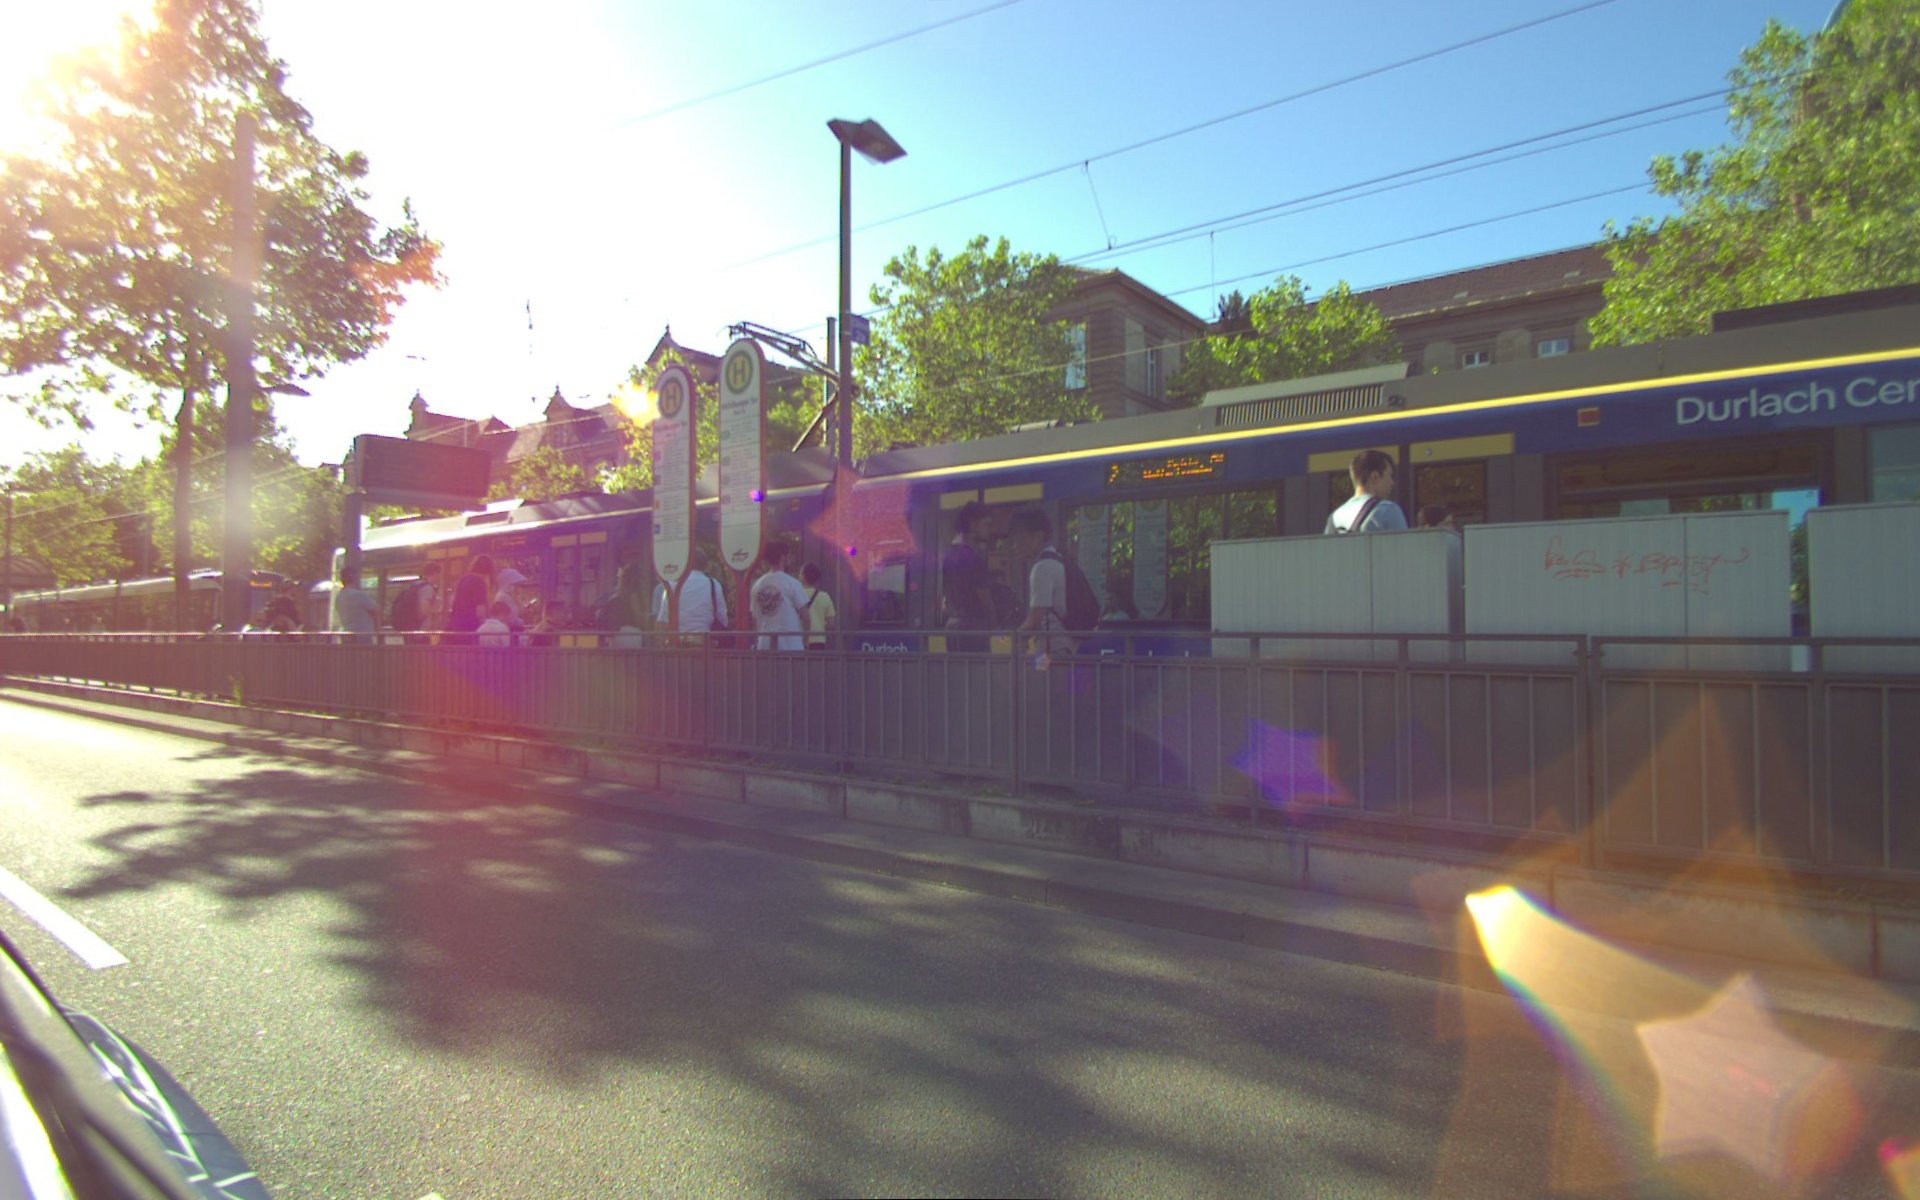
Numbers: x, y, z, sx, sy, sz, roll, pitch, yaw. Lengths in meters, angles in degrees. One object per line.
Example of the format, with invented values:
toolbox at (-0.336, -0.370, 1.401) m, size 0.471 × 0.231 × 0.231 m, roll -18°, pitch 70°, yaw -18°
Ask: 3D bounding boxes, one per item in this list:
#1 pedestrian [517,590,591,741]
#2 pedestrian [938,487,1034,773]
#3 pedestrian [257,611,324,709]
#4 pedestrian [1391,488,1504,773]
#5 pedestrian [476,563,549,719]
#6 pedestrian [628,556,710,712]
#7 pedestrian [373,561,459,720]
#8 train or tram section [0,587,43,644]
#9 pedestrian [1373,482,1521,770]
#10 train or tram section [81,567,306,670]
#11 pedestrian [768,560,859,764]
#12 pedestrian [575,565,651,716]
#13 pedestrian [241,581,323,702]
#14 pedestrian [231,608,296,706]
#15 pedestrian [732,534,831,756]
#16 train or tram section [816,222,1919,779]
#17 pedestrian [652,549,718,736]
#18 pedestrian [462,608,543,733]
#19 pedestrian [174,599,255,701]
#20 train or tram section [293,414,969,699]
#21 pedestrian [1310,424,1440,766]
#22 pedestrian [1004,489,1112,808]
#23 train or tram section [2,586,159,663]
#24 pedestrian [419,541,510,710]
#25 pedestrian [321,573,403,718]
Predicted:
pedestrian at (-3.708, 0.588, 9.253) m, size 0.506 × 1.326 × 0.412 m, roll -2°, pitch -3°, yaw 36°
pedestrian at (0.154, 0.191, 6.489) m, size 0.531 × 1.747 × 0.550 m, roll 0°, pitch -2°, yaw -7°
pedestrian at (-8.839, 0.785, 13.361) m, size 0.603 × 1.256 × 0.529 m, roll -2°, pitch -3°, yaw 36°
pedestrian at (3.128, 0.195, 6.484) m, size 0.544 × 1.715 × 0.603 m, roll -2°, pitch -3°, yaw 34°
pedestrian at (-5.108, 0.464, 11.559) m, size 0.620 × 1.721 × 0.510 m, roll -2°, pitch -3°, yaw 37°
pedestrian at (-3.229, 0.379, 11.238) m, size 0.621 × 1.662 × 0.613 m, roll -2°, pitch -3°, yaw 34°
pedestrian at (-6.083, 0.450, 11.323) m, size 0.570 × 1.709 × 0.654 m, roll -2°, pitch -3°, yaw 39°
train or tram section at (-49.968, 0.904, 51.335) m, size 15.653 × 2.584 × 2.538 m, roll -2°, pitch -2°, yaw 38°
pedestrian at (3.123, 0.169, 6.488) m, size 0.745 × 1.715 × 0.627 m, roll -2°, pitch -3°, yaw 34°
train or tram section at (-31.574, 0.872, 41.022) m, size 18.189 × 3.460 × 2.822 m, roll -2°, pitch -1°, yaw 38°
pedestrian at (-1.330, 0.554, 9.231) m, size 0.610 × 1.784 × 0.548 m, roll -2°, pitch -3°, yaw 34°
pedestrian at (-3.639, 0.422, 10.628) m, size 0.530 × 1.530 × 0.540 m, roll -2°, pitch -3°, yaw 37°
pedestrian at (-10.182, 0.622, 15.208) m, size 0.721 × 1.766 × 0.769 m, roll -2°, pitch -3°, yaw 34°
pedestrian at (-9.594, 0.776, 13.949) m, size 0.603 × 1.309 × 0.529 m, roll -2°, pitch -3°, yaw 34°
pedestrian at (-1.441, 0.358, 8.198) m, size 0.610 × 1.715 × 0.501 m, roll -2°, pitch -3°, yaw 34°
train or tram section at (4.382, -0.576, 8.813) m, size 13.094 × 3.285 × 2.887 m, roll -1°, pitch 0°, yaw 38°
pedestrian at (-2.639, 0.404, 9.681) m, size 0.498 × 1.715 × 0.613 m, roll 1°, pitch -3°, yaw -25°
pedestrian at (-4.581, 0.695, 10.131) m, size 0.530 × 1.201 × 0.540 m, roll -2°, pitch -3°, yaw 37°
pedestrian at (-11.528, 0.768, 15.661) m, size 0.750 × 1.521 × 0.769 m, roll -2°, pitch -3°, yaw 34°
train or tram section at (-7.011, -0.455, 17.725) m, size 15.871 × 3.285 × 2.887 m, roll -1°, pitch 0°, yaw 38°
pedestrian at (2.273, -0.015, 5.539) m, size 0.538 × 1.747 × 0.543 m, roll -2°, pitch -3°, yaw 34°
pedestrian at (0.548, 0.269, 5.832) m, size 0.532 × 1.747 × 0.550 m, roll 0°, pitch -2°, yaw -2°
train or tram section at (-45.823, 1.350, 52.319) m, size 18.250 × 3.460 × 2.843 m, roll -2°, pitch -1°, yaw 38°
pedestrian at (-5.223, 0.273, 10.680) m, size 0.570 × 1.709 × 0.654 m, roll -2°, pitch -3°, yaw 39°
pedestrian at (-7.055, 0.530, 11.945) m, size 0.570 × 1.646 × 0.654 m, roll -2°, pitch -3°, yaw 39°
